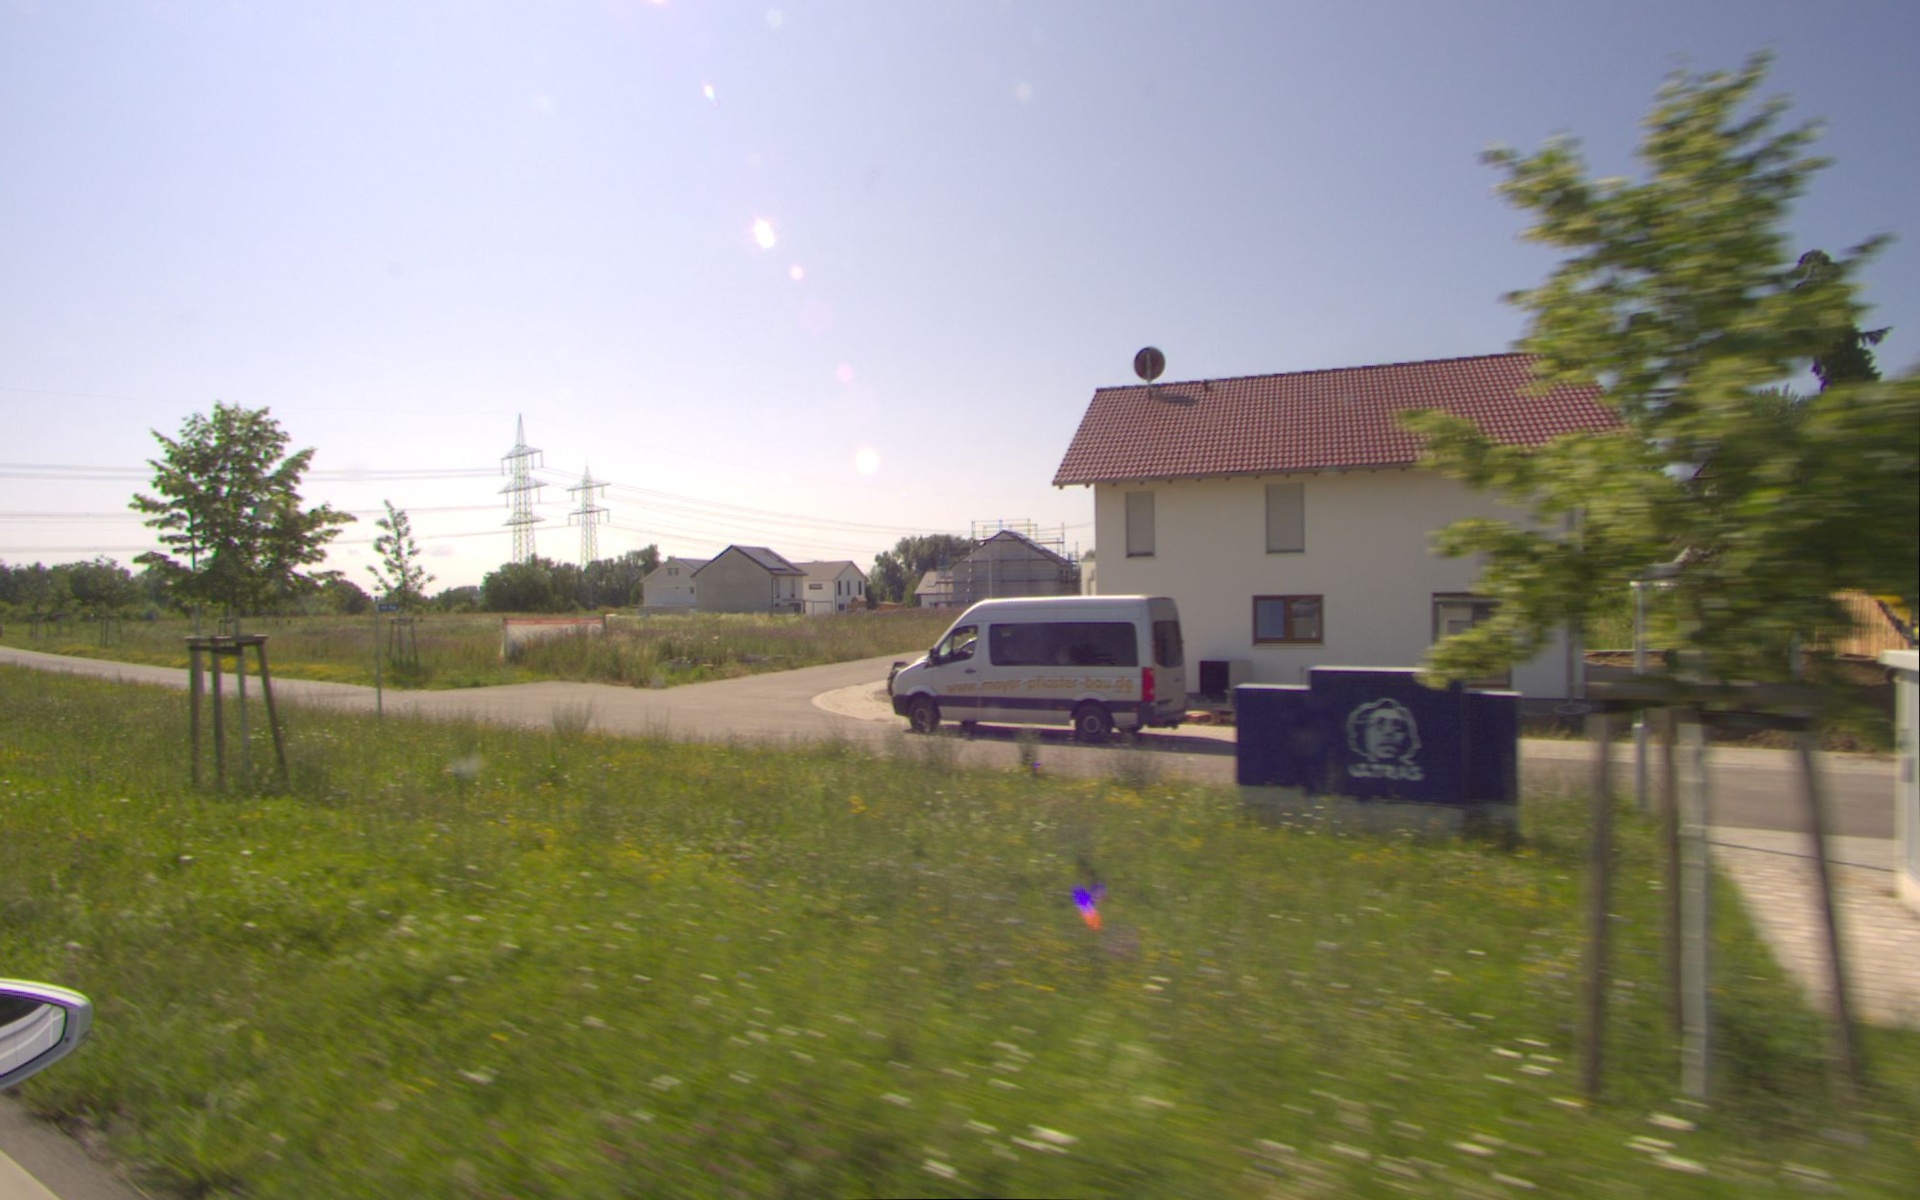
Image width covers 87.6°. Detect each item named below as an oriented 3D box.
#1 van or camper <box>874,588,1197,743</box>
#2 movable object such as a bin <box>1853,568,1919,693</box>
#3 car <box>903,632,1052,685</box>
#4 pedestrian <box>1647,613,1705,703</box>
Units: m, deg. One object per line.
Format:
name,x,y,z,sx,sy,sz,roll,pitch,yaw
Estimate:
van or camper,1.365,1.182,19.490,5.944,2.634,2.168,-1,-1,32
movable object such as a bin,20.672,0.625,20.745,1.752,2.591,2.879,0,0,-1
car,0.559,1.793,31.231,4.407,1.577,1.562,-1,-1,18
pedestrian,14.300,1.137,20.009,0.705,1.688,0.712,-5,4,-29
